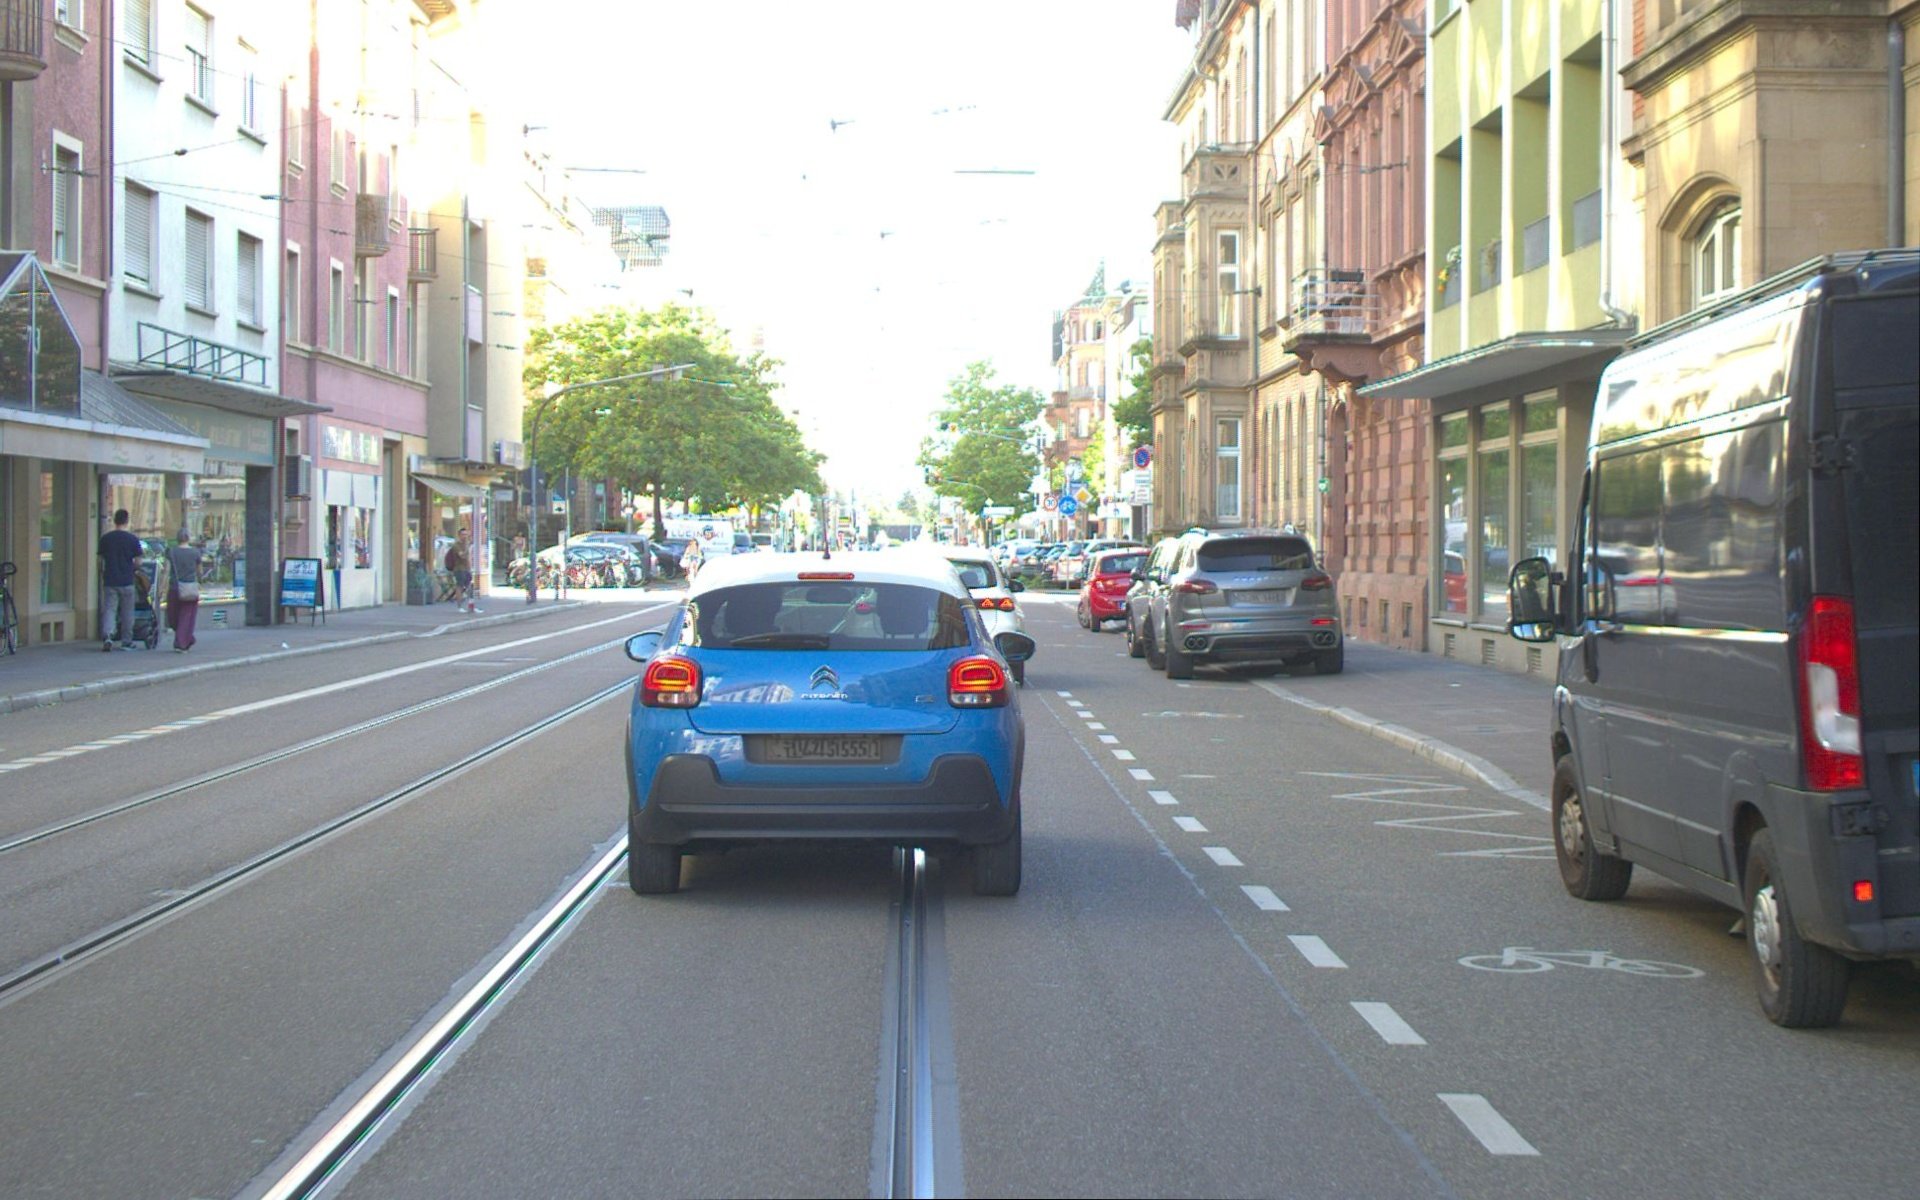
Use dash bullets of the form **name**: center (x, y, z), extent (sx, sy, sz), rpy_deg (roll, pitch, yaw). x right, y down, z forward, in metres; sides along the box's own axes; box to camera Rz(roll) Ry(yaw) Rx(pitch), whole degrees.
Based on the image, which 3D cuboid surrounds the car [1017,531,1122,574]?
- **car**: center (4.120, -1.797, 129.987), extent (3.835, 1.612, 1.792), rpy_deg (0, 1, -3)

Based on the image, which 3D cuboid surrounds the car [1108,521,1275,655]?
- **car**: center (3.137, -0.196, 47.241), extent (1.905, 1.751, 4.000), rpy_deg (0, 1, -2)

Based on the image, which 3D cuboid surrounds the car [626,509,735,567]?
- **car**: center (-12.466, -2.772, 153.167), extent (4.307, 2.572, 2.210), rpy_deg (-1, 1, -26)

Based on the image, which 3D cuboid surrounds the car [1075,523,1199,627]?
- **car**: center (3.291, -0.500, 64.621), extent (2.005, 1.666, 4.392), rpy_deg (2, 4, -1)

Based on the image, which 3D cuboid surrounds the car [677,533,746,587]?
- **car**: center (-7.711, -1.271, 107.036), extent (1.993, 1.645, 4.000), rpy_deg (0, 1, -2)

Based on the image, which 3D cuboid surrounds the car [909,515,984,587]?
- **car**: center (-0.401, -1.393, 97.538), extent (1.993, 2.007, 4.000), rpy_deg (0, 1, -2)

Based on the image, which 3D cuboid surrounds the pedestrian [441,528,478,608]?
- **pedestrian**: center (-10.227, -0.661, 70.248), extent (0.685, 1.633, 0.675), rpy_deg (0, 1, -2)

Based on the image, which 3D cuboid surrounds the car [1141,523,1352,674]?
- **car**: center (3.291, -0.061, 40.348), extent (2.005, 1.667, 4.806), rpy_deg (0, 1, -1)

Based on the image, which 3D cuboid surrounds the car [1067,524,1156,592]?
- **car**: center (3.898, -1.106, 89.134), extent (2.005, 1.667, 4.391), rpy_deg (-1, 1, -1)

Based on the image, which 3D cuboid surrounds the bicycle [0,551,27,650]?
- **bicycle**: center (-11.566, -0.010, 41.351), extent (0.621, 1.155, 2.066), rpy_deg (0, 1, -14)

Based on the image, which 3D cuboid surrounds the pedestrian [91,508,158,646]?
- **pedestrian**: center (-10.686, -0.295, 43.981), extent (0.710, 1.758, 0.570), rpy_deg (0, 1, -2)

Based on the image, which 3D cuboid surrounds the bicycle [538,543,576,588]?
- **bicycle**: center (-12.265, -1.058, 104.599), extent (1.120, 1.315, 3.645), rpy_deg (0, 1, -6)

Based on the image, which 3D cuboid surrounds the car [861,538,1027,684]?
- **car**: center (-0.221, 0.071, 36.927), extent (1.667, 1.473, 4.001), rpy_deg (0, 1, -2)

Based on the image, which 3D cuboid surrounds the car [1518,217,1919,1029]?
- **car**: center (3.684, 0.016, 13.124), extent (2.271, 2.428, 5.720), rpy_deg (0, 1, 1)

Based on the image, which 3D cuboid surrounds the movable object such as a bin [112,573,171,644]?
- **movable object such as a bin**: center (-10.637, 0.110, 44.698), extent (0.610, 0.911, 0.695), rpy_deg (0, 1, -1)

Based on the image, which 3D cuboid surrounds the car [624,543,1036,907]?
- **car**: center (-0.590, 0.477, 16.063), extent (1.674, 1.472, 4.000), rpy_deg (0, 1, -2)

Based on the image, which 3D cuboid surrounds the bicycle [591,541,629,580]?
- **bicycle**: center (-10.692, -1.216, 104.850), extent (1.120, 1.142, 3.645), rpy_deg (0, 1, -6)

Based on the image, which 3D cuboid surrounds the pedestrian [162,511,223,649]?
- **pedestrian**: center (-9.858, -0.263, 44.177), extent (0.710, 1.758, 0.655), rpy_deg (0, 1, -9)
